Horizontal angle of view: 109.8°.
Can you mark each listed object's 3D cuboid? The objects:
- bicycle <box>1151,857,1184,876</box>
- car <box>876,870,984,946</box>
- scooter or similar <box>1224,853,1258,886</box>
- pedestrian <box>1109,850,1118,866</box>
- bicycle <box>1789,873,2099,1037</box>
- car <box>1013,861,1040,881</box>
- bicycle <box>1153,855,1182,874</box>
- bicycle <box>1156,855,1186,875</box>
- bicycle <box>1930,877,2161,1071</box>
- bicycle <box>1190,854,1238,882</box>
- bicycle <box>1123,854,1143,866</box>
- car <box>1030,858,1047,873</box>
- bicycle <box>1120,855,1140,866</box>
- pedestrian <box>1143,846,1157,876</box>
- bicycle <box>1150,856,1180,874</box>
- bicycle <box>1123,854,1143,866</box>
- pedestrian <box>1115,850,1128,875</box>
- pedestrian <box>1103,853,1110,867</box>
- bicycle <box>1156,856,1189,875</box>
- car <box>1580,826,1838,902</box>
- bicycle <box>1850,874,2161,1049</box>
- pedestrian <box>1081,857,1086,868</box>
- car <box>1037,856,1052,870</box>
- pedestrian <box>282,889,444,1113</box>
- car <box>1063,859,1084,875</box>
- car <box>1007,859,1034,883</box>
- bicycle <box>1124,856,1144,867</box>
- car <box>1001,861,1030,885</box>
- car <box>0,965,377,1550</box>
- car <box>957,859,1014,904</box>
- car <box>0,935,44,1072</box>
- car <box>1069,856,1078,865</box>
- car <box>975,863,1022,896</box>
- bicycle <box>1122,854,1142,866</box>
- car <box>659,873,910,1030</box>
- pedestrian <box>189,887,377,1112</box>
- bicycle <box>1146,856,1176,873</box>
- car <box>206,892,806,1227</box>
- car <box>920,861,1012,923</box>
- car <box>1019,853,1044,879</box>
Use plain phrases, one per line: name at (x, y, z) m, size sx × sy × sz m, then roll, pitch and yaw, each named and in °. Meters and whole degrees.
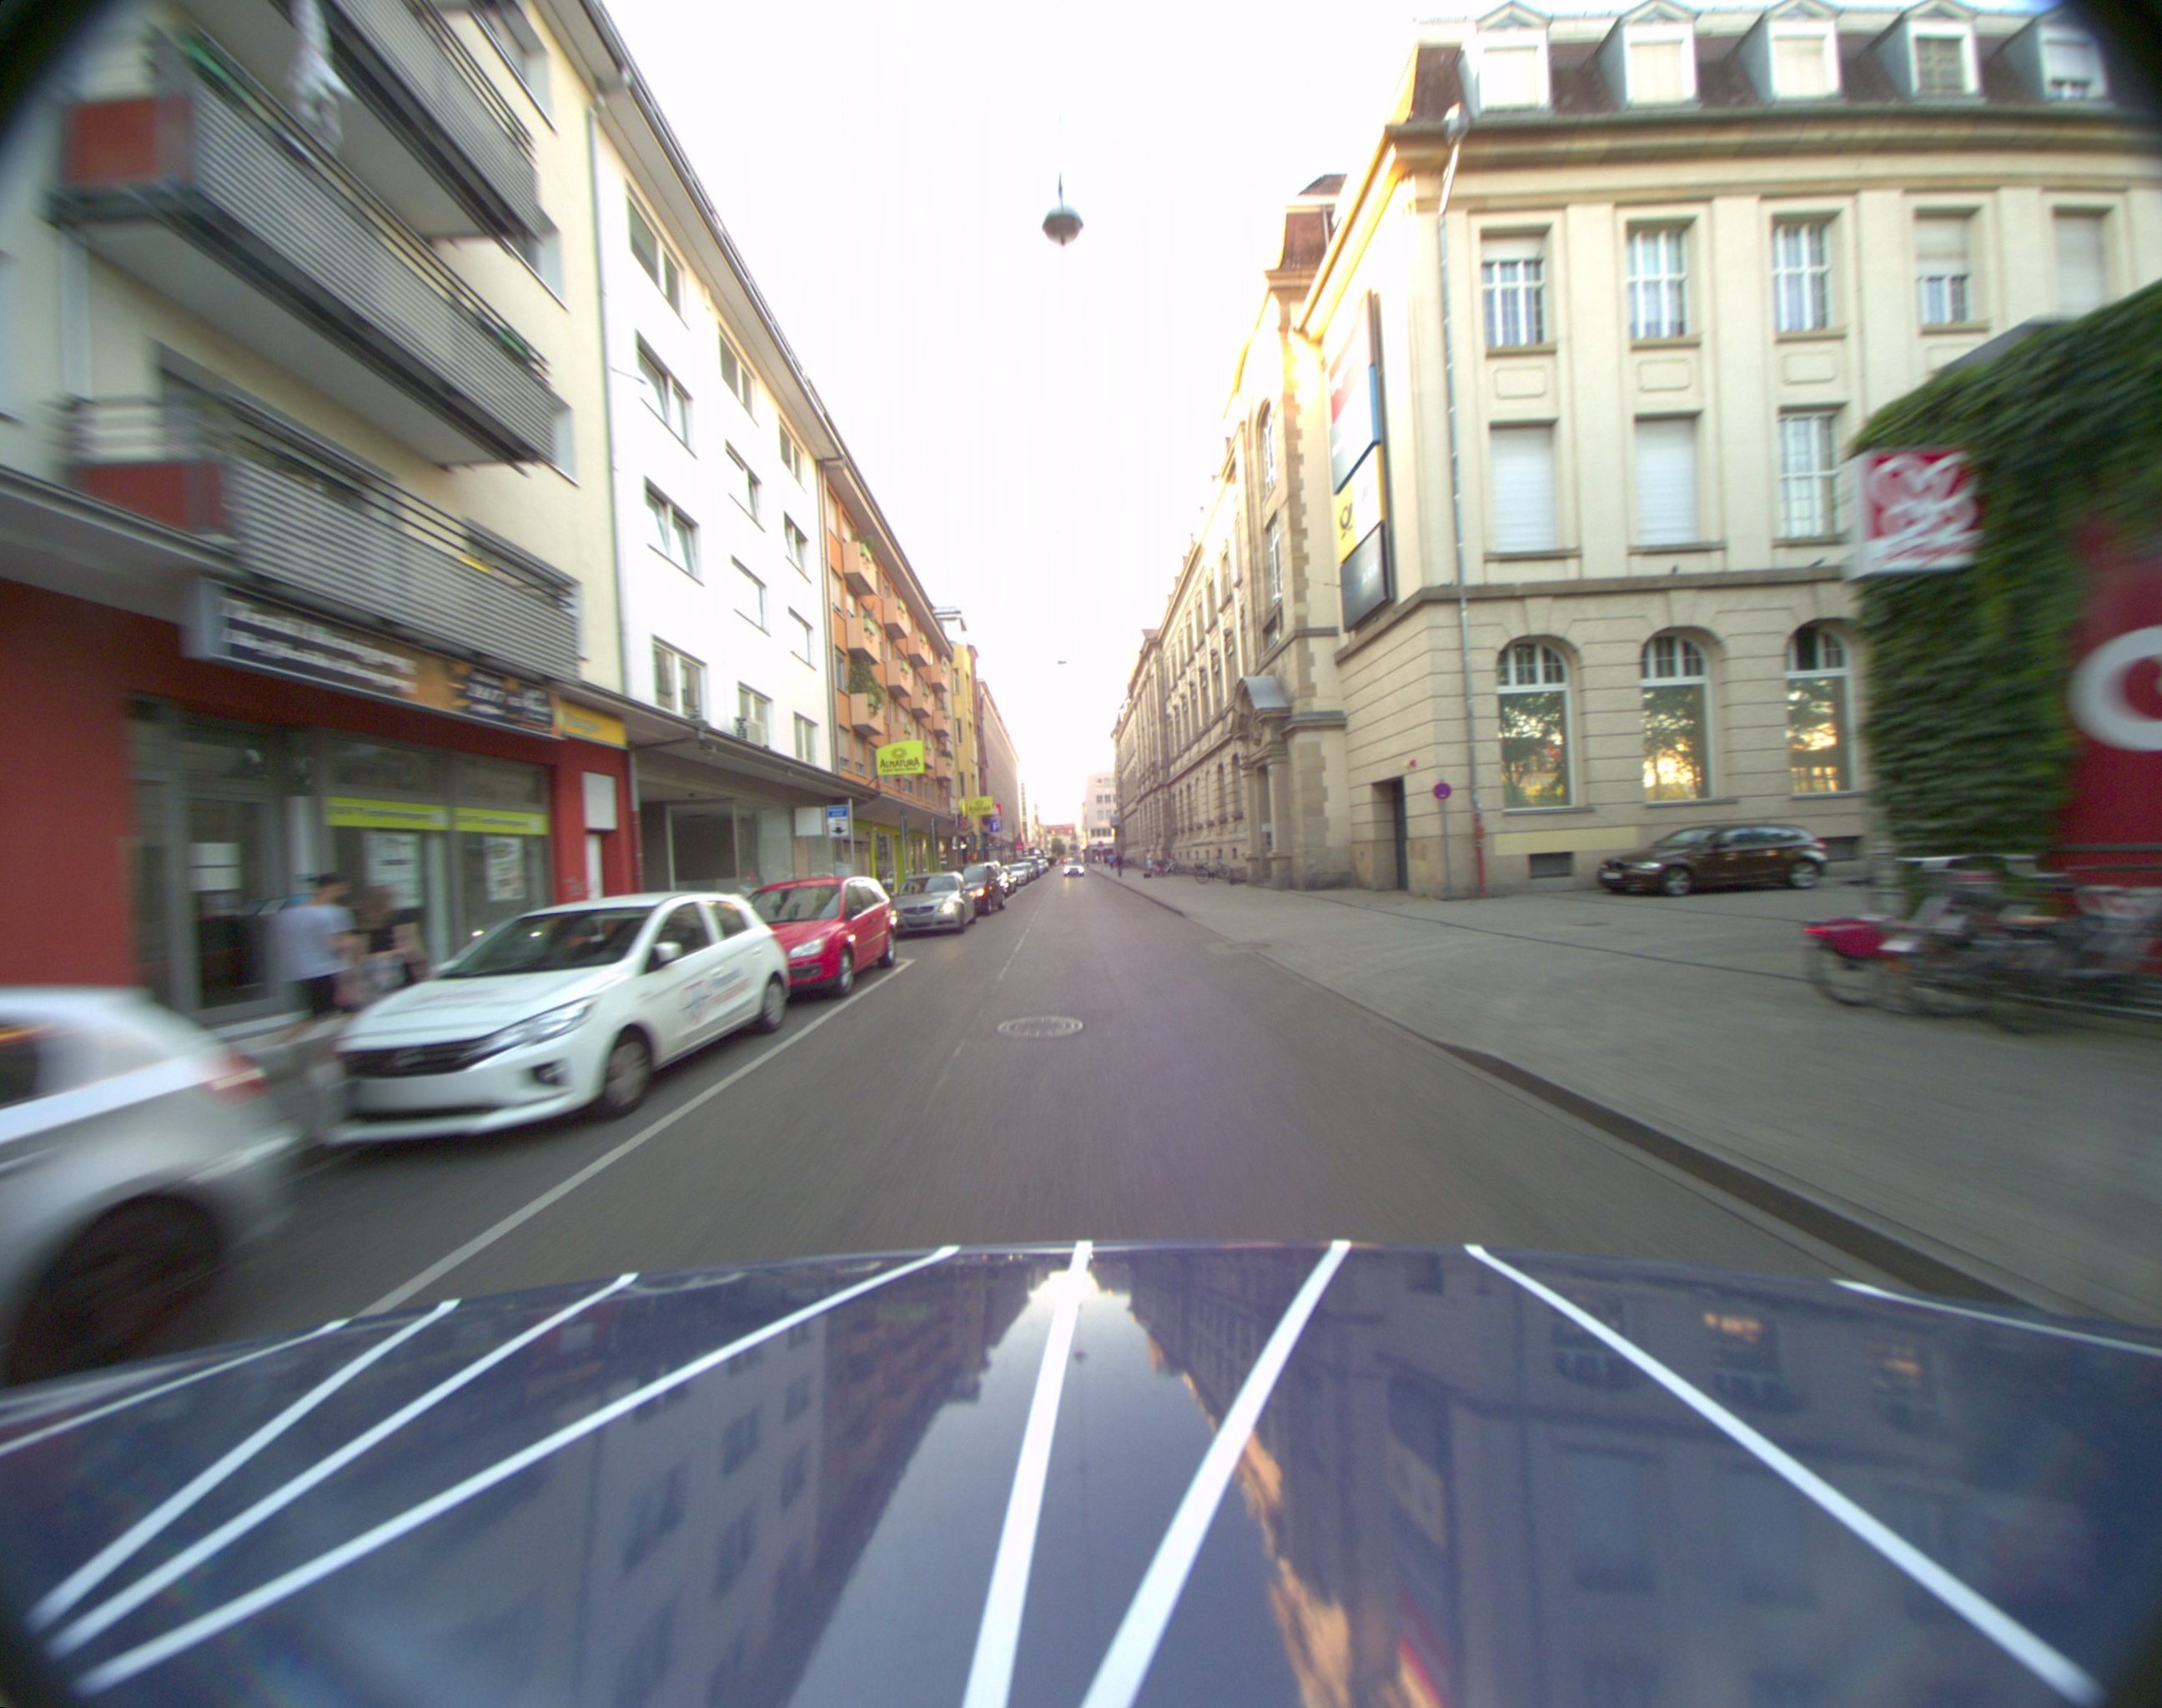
bicycle at (5.368, 0.763, 47.151) m, size 1.942 × 1.055 × 0.619 m, roll -4°, pitch 1°, yaw -3°
car at (-3.507, 1.196, 18.528) m, size 1.741 × 1.407 × 4.681 m, roll -5°, pitch 0°, yaw -2°
scooter or similar at (6.433, 0.608, 30.507) m, size 1.137 × 1.225 × 0.496 m, roll -4°, pitch 0°, yaw -13°
pedestrian at (3.589, 0.413, 84.017) m, size 0.831 × 1.735 × 0.769 m, roll -5°, pitch 0°, yaw 0°
bicycle at (6.625, 0.756, 5.878) m, size 1.799 × 1.101 × 0.500 m, roll -3°, pitch 0°, yaw -1°
car at (-4.347, 1.340, 61.251) m, size 1.691 × 1.444 × 4.498 m, roll -5°, pitch 0°, yaw 1°
bicycle at (5.719, 0.686, 50.210) m, size 1.799 × 1.101 × 0.500 m, roll -4°, pitch 1°, yaw -6°
bicycle at (5.785, 0.698, 49.011) m, size 1.799 × 1.101 × 0.500 m, roll -4°, pitch 1°, yaw -6°
bicycle at (6.765, 0.750, 4.997) m, size 1.799 × 1.101 × 0.500 m, roll -3°, pitch 0°, yaw -2°
bicycle at (5.998, 0.634, 34.291) m, size 1.944 × 1.055 × 0.619 m, roll -6°, pitch 1°, yaw -15°
bicycle at (5.481, 0.667, 80.216) m, size 1.943 × 1.072 × 0.730 m, roll -5°, pitch 1°, yaw -7°
car at (-4.761, 1.303, 85.268) m, size 1.661 × 1.439 × 4.307 m, roll -4°, pitch 0°, yaw -1°
bicycle at (5.304, 0.678, 82.302) m, size 1.943 × 1.072 × 0.730 m, roll -5°, pitch 1°, yaw -7°
pedestrian at (4.446, 0.452, 48.815) m, size 0.589 × 1.840 × 0.754 m, roll -5°, pitch 0°, yaw -6°
bicycle at (5.790, 0.737, 52.430) m, size 1.943 × 1.055 × 0.619 m, roll -4°, pitch 1°, yaw -6°
bicycle at (5.363, 0.667, 78.949) m, size 1.942 × 1.072 × 0.748 m, roll -5°, pitch 1°, yaw -1°
pedestrian at (2.940, 0.595, 55.095) m, size 0.811 × 1.740 × 0.969 m, roll -4°, pitch 1°, yaw -1°
pedestrian at (3.428, 0.783, 103.038) m, size 0.778 × 1.778 × 0.820 m, roll -4°, pitch 0°, yaw -3°
bicycle at (5.788, 0.722, 48.196) m, size 1.943 × 1.055 × 0.619 m, roll -4°, pitch 1°, yaw -6°
car at (13.172, 0.202, 16.096) m, size 4.015 × 1.363 × 1.750 m, roll -2°, pitch 0°, yaw -1°
bicycle at (6.757, 0.750, 5.533) m, size 1.799 × 1.101 × 0.500 m, roll -3°, pitch 0°, yaw -2°
pedestrian at (0.361, 1.333, 123.499) m, size 0.687 × 1.751 × 0.799 m, roll -2°, pitch 0°, yaw -8°
car at (-4.905, 1.221, 102.272) m, size 1.781 × 1.656 × 4.812 m, roll -4°, pitch 0°, yaw -3°
pedestrian at (-5.680, 1.123, 6.044) m, size 0.649 × 1.651 × 0.655 m, roll 0°, pitch 0°, yaw 1°
car at (-0.667, 1.141, 67.827) m, size 1.741 × 1.407 × 4.681 m, roll 0°, pitch -1°, yaw -2°
car at (-4.409, 1.229, 56.136) m, size 1.622 × 1.507 × 4.173 m, roll -5°, pitch 0°, yaw -2°
bicycle at (5.458, 0.790, 78.032) m, size 1.941 × 1.039 × 0.721 m, roll -4°, pitch 0°, yaw -5°
car at (-4.352, 1.237, 50.965) m, size 1.696 × 1.403 × 4.638 m, roll -5°, pitch 0°, yaw -3°
car at (-3.807, 1.236, 0.951) m, size 1.703 × 1.443 × 4.458 m, roll -5°, pitch 0°, yaw -2°
car at (-4.072, 1.139, 33.146) m, size 1.756 × 1.658 × 4.756 m, roll -5°, pitch 0°, yaw 0°
car at (-11.659, 1.518, 5.859) m, size 1.744 × 1.328 × 4.001 m, roll -2°, pitch 0°, yaw 2°
car at (-1.550, 1.403, 161.643) m, size 1.824 × 1.728 × 4.000 m, roll -2°, pitch 0°, yaw -1°
car at (-4.082, 1.237, 38.115) m, size 1.696 × 1.406 × 4.756 m, roll -5°, pitch 0°, yaw 0°
bicycle at (5.402, 0.663, 80.987) m, size 1.943 × 1.072 × 0.730 m, roll -5°, pitch 1°, yaw -7°
car at (-3.774, 1.130, 10.663) m, size 1.717 × 1.503 × 4.651 m, roll -5°, pitch 0°, yaw -2°
pedestrian at (-6.345, 1.107, 6.085) m, size 0.649 × 1.651 × 0.794 m, roll 0°, pitch 0°, yaw 1°
bicycle at (5.657, 0.737, 53.677) m, size 1.942 × 1.055 × 0.619 m, roll -4°, pitch 1°, yaw -2°
car at (-3.840, 1.214, 6.129) m, size 1.610 × 1.503 × 4.048 m, roll -5°, pitch 0°, yaw 1°
car at (-3.474, 1.099, 23.904) m, size 1.798 × 1.600 × 4.487 m, roll -5°, pitch 0°, yaw 4°
car at (-4.431, 1.032, 68.338) m, size 1.851 × 2.046 × 5.053 m, roll -4°, pitch 0°, yaw -1°
